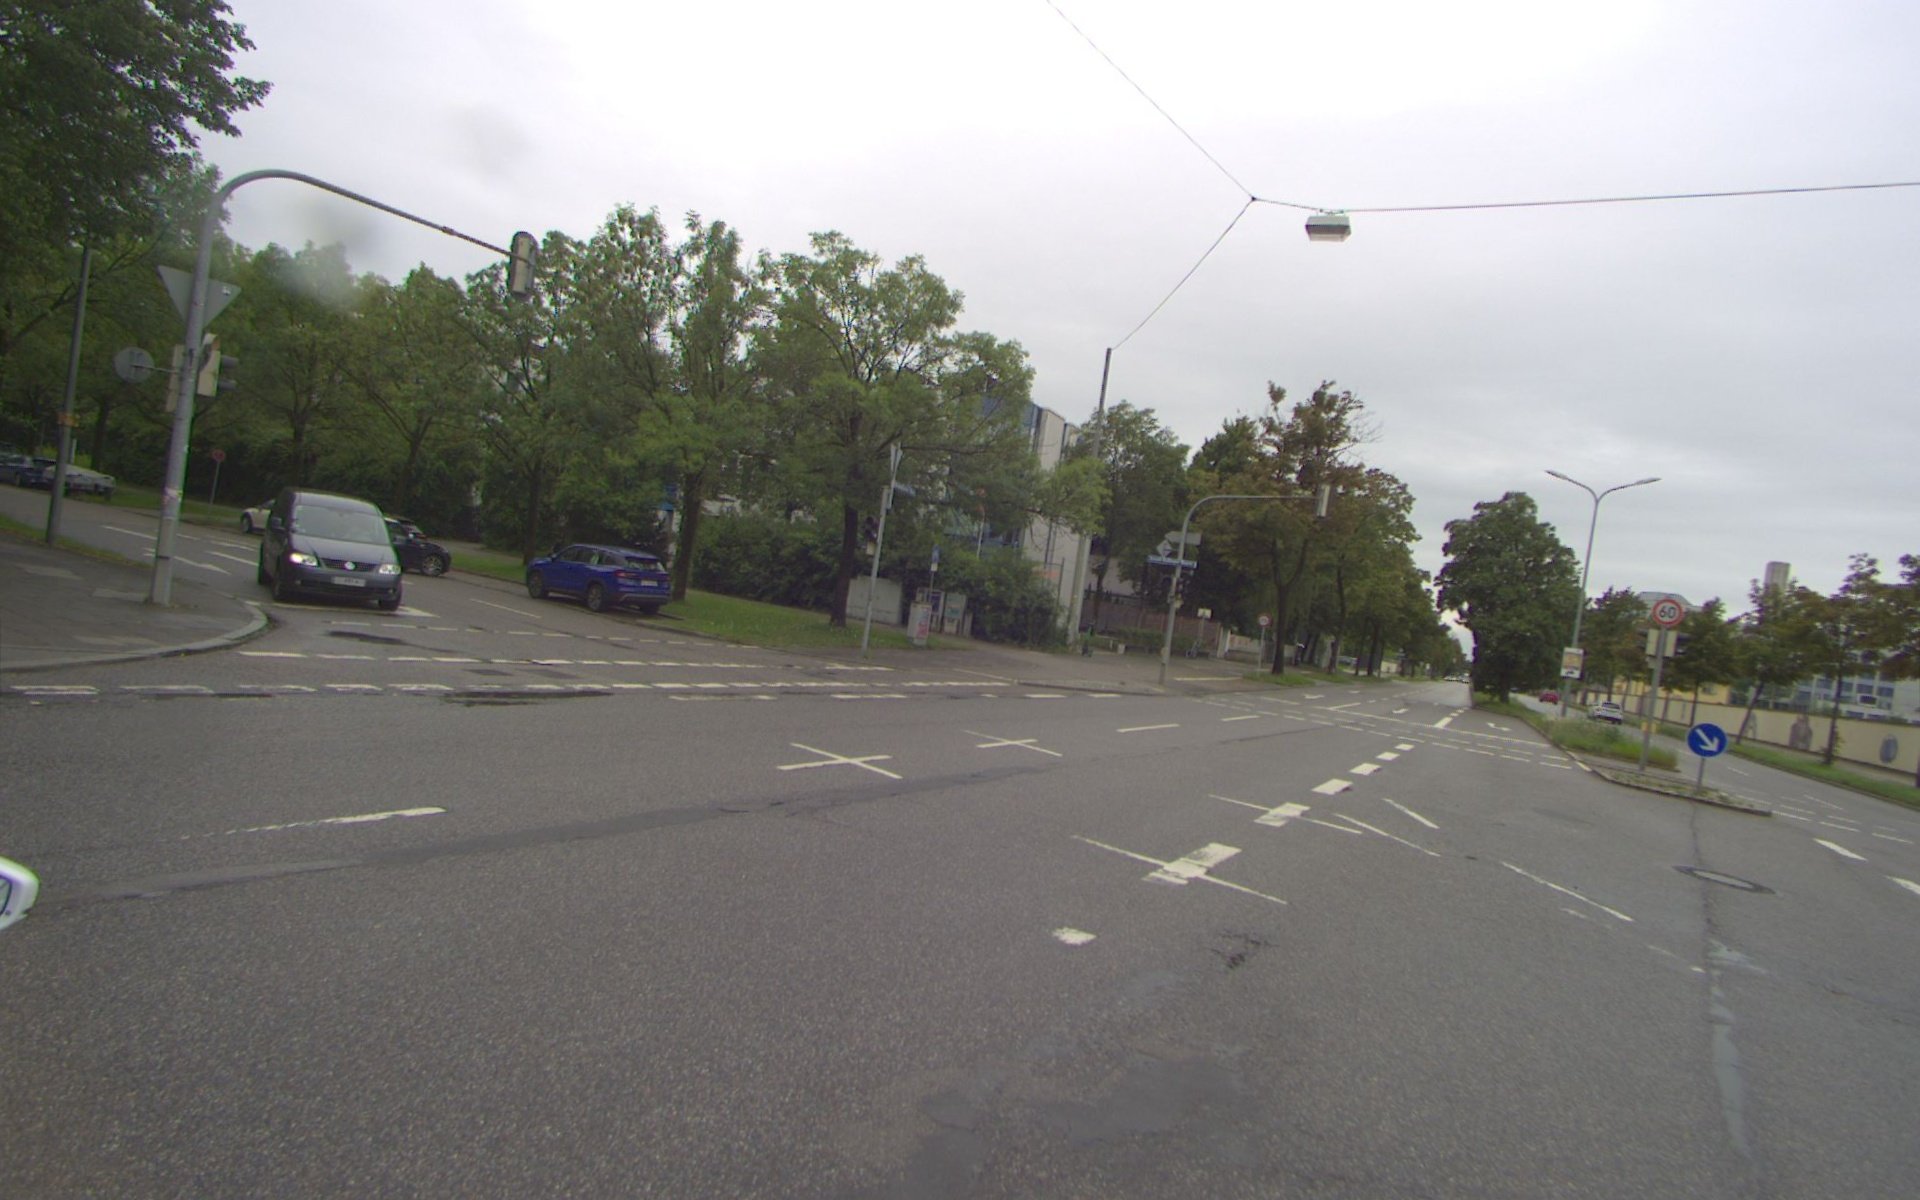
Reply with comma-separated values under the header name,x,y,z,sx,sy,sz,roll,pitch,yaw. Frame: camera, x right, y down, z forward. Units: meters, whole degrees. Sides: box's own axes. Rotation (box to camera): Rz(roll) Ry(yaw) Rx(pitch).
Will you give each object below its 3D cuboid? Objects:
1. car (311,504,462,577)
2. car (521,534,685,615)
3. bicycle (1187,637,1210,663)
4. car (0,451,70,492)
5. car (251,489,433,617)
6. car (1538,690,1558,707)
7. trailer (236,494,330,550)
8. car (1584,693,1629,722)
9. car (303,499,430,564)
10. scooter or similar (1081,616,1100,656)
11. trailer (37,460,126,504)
name,x,y,z,sx,sy,sz,roll,pitch,yaw
car,-16.120,-1.655,28.355,1.643,1.461,3.264,8,-1,44
car,-9.491,-0.686,26.606,4.216,1.595,1.992,8,2,37
bicycle,13.175,2.771,55.500,0.573,1.311,2.453,10,1,25
car,-41.920,-5.806,45.169,3.361,1.278,1.557,10,1,23
car,-11.059,-0.906,17.819,1.986,1.743,4.737,9,0,-39
car,71.247,11.908,121.925,1.462,1.736,3.548,10,1,26
trailer,-24.062,-2.785,35.746,3.286,1.431,1.449,10,1,32
car,44.876,7.432,69.922,1.850,1.485,4.499,10,1,25
car,-19.493,-2.252,33.004,4.094,1.595,1.758,8,2,30
scooter or similar,4.949,1.368,38.034,0.364,1.442,1.406,10,1,12
trailer,-38.007,-5.097,43.536,3.361,1.278,1.557,10,1,24
